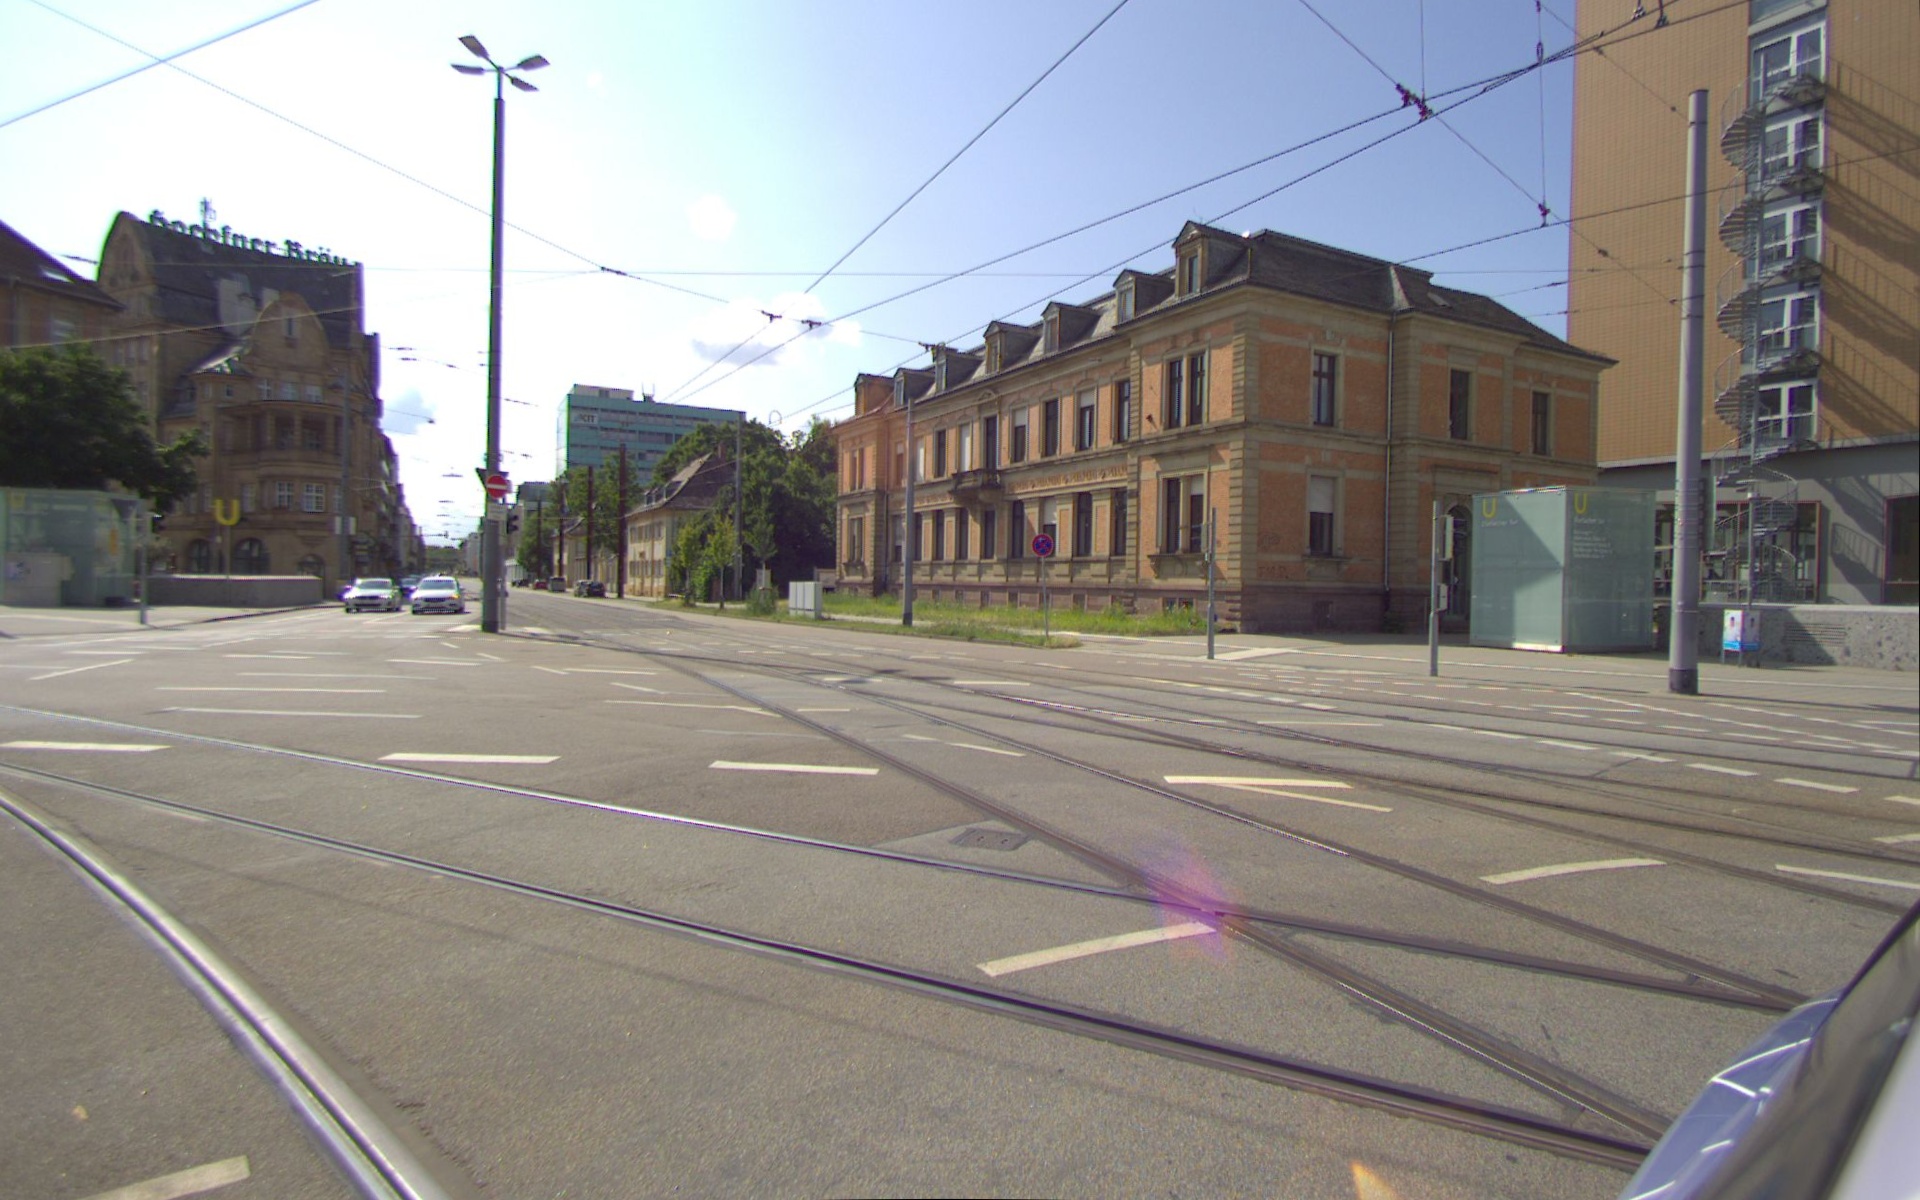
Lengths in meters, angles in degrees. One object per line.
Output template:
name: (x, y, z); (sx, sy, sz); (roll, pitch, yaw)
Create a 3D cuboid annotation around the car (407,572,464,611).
car: (-21.337, -0.355, 41.289); (1.951, 1.502, 4.007); (0, 1, -26)

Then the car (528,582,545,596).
car: (-57.398, -1.559, 137.091); (1.959, 1.838, 4.007); (0, 1, -25)

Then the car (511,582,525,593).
car: (-71.230, -2.026, 163.042); (1.959, 1.838, 4.007); (0, 1, -25)

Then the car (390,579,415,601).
car: (-45.125, -0.810, 81.864); (1.686, 1.704, 3.931); (0, 0, -30)

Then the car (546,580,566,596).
car: (-47.576, -1.398, 119.158); (1.959, 1.838, 4.007); (0, 1, -25)

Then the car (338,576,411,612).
car: (-25.328, -0.293, 43.916); (2.003, 1.448, 4.549); (-1, 1, -21)

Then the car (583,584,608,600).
car: (-33.299, -0.773, 92.402); (1.958, 1.393, 4.008); (0, 1, -22)
